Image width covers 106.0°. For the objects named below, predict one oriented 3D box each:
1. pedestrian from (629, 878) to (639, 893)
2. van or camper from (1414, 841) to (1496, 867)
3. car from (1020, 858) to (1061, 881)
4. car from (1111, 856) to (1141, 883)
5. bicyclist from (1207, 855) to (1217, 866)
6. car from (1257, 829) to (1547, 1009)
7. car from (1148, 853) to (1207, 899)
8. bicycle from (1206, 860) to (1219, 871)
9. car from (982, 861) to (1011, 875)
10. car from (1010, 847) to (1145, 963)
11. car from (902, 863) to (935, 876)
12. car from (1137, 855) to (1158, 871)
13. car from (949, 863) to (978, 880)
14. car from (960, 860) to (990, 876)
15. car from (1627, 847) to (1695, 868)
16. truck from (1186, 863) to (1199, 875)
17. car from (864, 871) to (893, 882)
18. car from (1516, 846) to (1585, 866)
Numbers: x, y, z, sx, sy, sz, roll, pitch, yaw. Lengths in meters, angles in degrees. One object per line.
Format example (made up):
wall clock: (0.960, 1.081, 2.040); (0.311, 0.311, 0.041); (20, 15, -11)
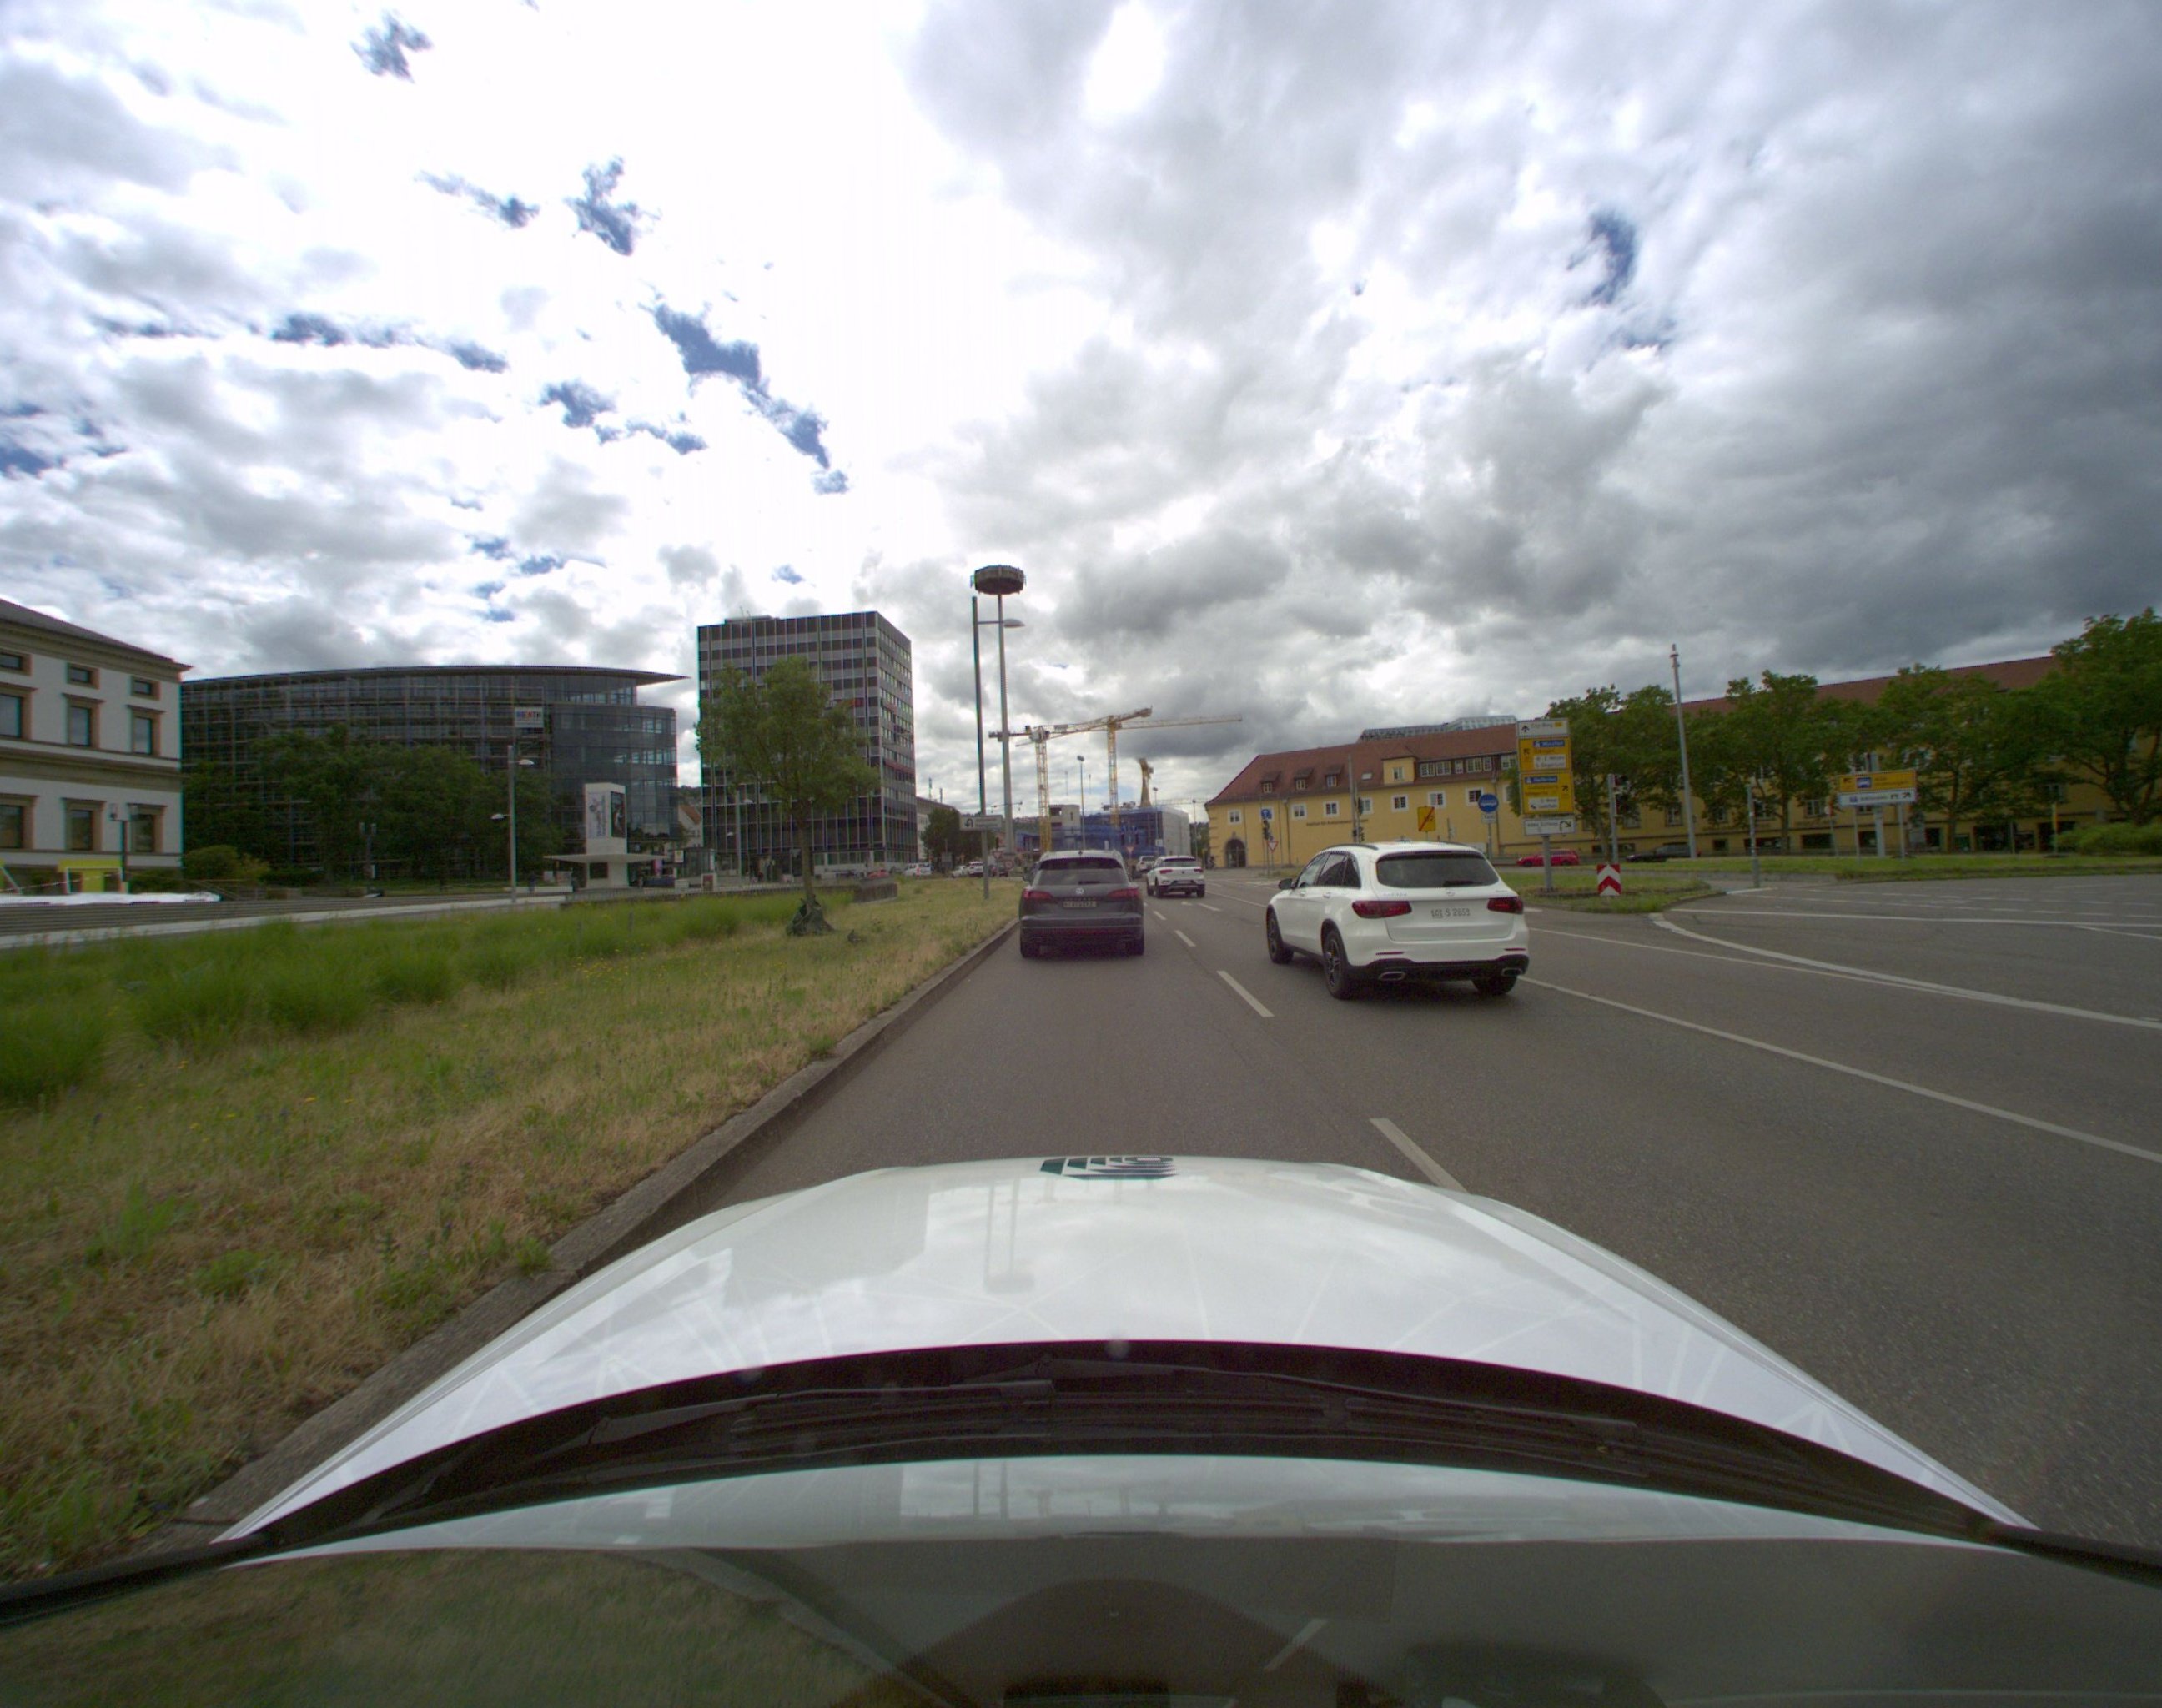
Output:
pedestrian: (-35.097, 2.473, 63.897); (0.473, 1.081, 0.560); (-1, -1, 2)
van or camper: (31.579, -0.003, 68.865); (5.946, 2.014, 2.032); (-2, -1, 37)
car: (-2.654, 1.017, 52.308); (1.796, 1.356, 4.049); (-2, -1, -15)
car: (2.698, 0.918, 49.210); (1.712, 1.502, 4.146); (-2, 0, 3)
bicyclist: (14.936, 0.750, 92.740); (0.921, 1.159, 0.724); (-1, -1, -4)
car: (3.505, 0.610, 9.885); (1.813, 1.647, 4.379); (-2, 0, 1)
car: (3.622, 0.781, 31.211); (1.886, 1.585, 3.802); (-2, 0, 1)
bicycle: (14.945, 1.296, 92.731); (0.921, 1.159, 2.462); (-1, -1, -3)
car: (-8.921, 1.517, 86.099); (1.652, 1.396, 3.560); (-1, 0, -32)
car: (-0.003, 0.739, 13.927); (1.926, 1.647, 4.001); (-2, 0, 1)
car: (-20.010, 1.867, 100.086); (2.262, 1.502, 4.560); (-2, 0, -36)
car: (6.380, 0.855, 78.774); (1.796, 1.502, 3.982); (-2, 0, 1)
car: (-14.277, 2.062, 98.496); (1.908, 1.610, 3.959); (-5, 6, -34)
car: (-10.375, 1.355, 79.510); (1.822, 1.496, 3.876); (-2, 0, -23)
car: (43.314, 0.252, 60.953); (4.037, 1.413, 1.670); (-2, -1, 33)
truck: (25.567, 3.468, 187.143); (2.111, 2.453, 4.848); (-2, 0, 17)
car: (-26.771, 2.979, 107.692); (3.930, 1.502, 1.735); (-2, -1, 42)
car: (37.302, 0.194, 64.811); (4.632, 1.420, 1.607); (-2, -1, 33)
